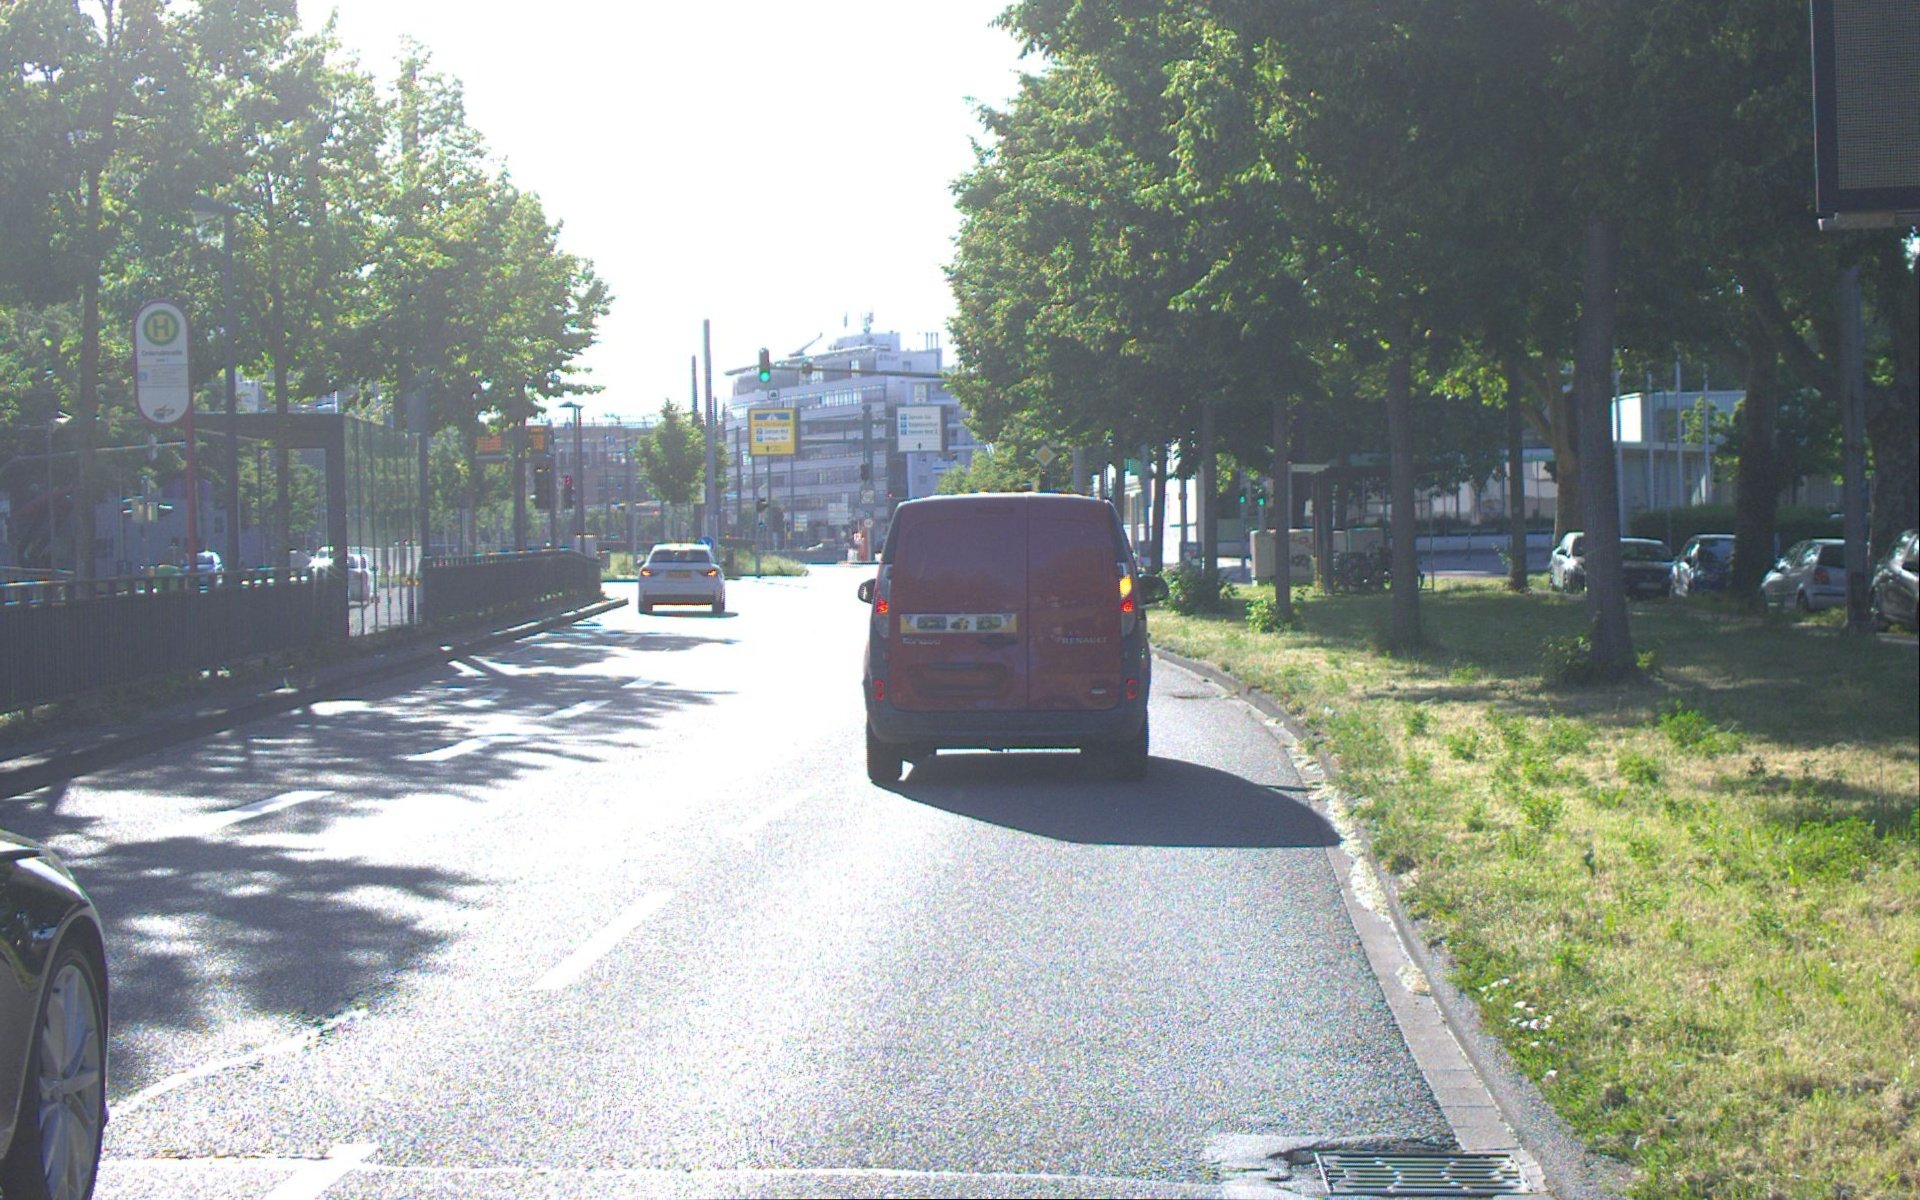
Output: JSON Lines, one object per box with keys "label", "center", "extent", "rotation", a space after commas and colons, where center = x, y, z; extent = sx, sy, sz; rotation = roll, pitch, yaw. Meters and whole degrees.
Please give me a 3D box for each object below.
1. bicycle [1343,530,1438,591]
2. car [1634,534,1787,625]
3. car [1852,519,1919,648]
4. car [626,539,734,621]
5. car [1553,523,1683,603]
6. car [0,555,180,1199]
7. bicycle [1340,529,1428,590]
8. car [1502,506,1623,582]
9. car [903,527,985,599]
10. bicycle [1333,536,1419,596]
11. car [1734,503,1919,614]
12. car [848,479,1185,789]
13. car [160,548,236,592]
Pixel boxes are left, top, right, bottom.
{"label": "bicycle", "center": [8.932, -0.826, 71.376], "extent": [1.918, 1.264, 0.479], "rotation": [0, 1, 0]}
{"label": "car", "center": [14.336, -0.402, 65.893], "extent": [1.871, 1.678, 4.000], "rotation": [1, 0, -3]}
{"label": "car", "center": [13.437, -0.217, 46.397], "extent": [1.871, 1.678, 4.000], "rotation": [1, 0, 2]}
{"label": "car", "center": [-5.753, -0.418, 71.028], "extent": [1.993, 1.612, 4.000], "rotation": [1, 1, -1]}
{"label": "car", "center": [14.288, -0.800, 74.830], "extent": [1.871, 1.678, 4.000], "rotation": [1, 0, -3]}
{"label": "car", "center": [-2.794, 0.678, 5.404], "extent": [1.953, 1.475, 5.085], "rotation": [1, 1, 0]}
{"label": "bicycle", "center": [8.921, -0.854, 72.364], "extent": [1.778, 1.264, 0.479], "rotation": [1, 0, 0]}
{"label": "car", "center": [13.855, -1.283, 79.258], "extent": [1.871, 1.678, 4.001], "rotation": [1, 0, -3]}
{"label": "car", "center": [-0.456, -1.069, 98.643], "extent": [2.269, 2.007, 4.710], "rotation": [0, 1, 0]}
{"label": "bicycle", "center": [8.886, -0.730, 73.462], "extent": [1.778, 1.264, 0.479], "rotation": [0, 1, 0]}
{"label": "car", "center": [14.025, -0.663, 55.679], "extent": [1.871, 1.678, 4.000], "rotation": [-2, 1, -3]}
{"label": "car", "center": [0.277, 0.188, 22.555], "extent": [1.808, 1.831, 4.001], "rotation": [1, 0, -5]}
{"label": "car", "center": [-30.770, -1.210, 138.932], "extent": [1.994, 1.758, 4.000], "rotation": [1, 0, 3]}
